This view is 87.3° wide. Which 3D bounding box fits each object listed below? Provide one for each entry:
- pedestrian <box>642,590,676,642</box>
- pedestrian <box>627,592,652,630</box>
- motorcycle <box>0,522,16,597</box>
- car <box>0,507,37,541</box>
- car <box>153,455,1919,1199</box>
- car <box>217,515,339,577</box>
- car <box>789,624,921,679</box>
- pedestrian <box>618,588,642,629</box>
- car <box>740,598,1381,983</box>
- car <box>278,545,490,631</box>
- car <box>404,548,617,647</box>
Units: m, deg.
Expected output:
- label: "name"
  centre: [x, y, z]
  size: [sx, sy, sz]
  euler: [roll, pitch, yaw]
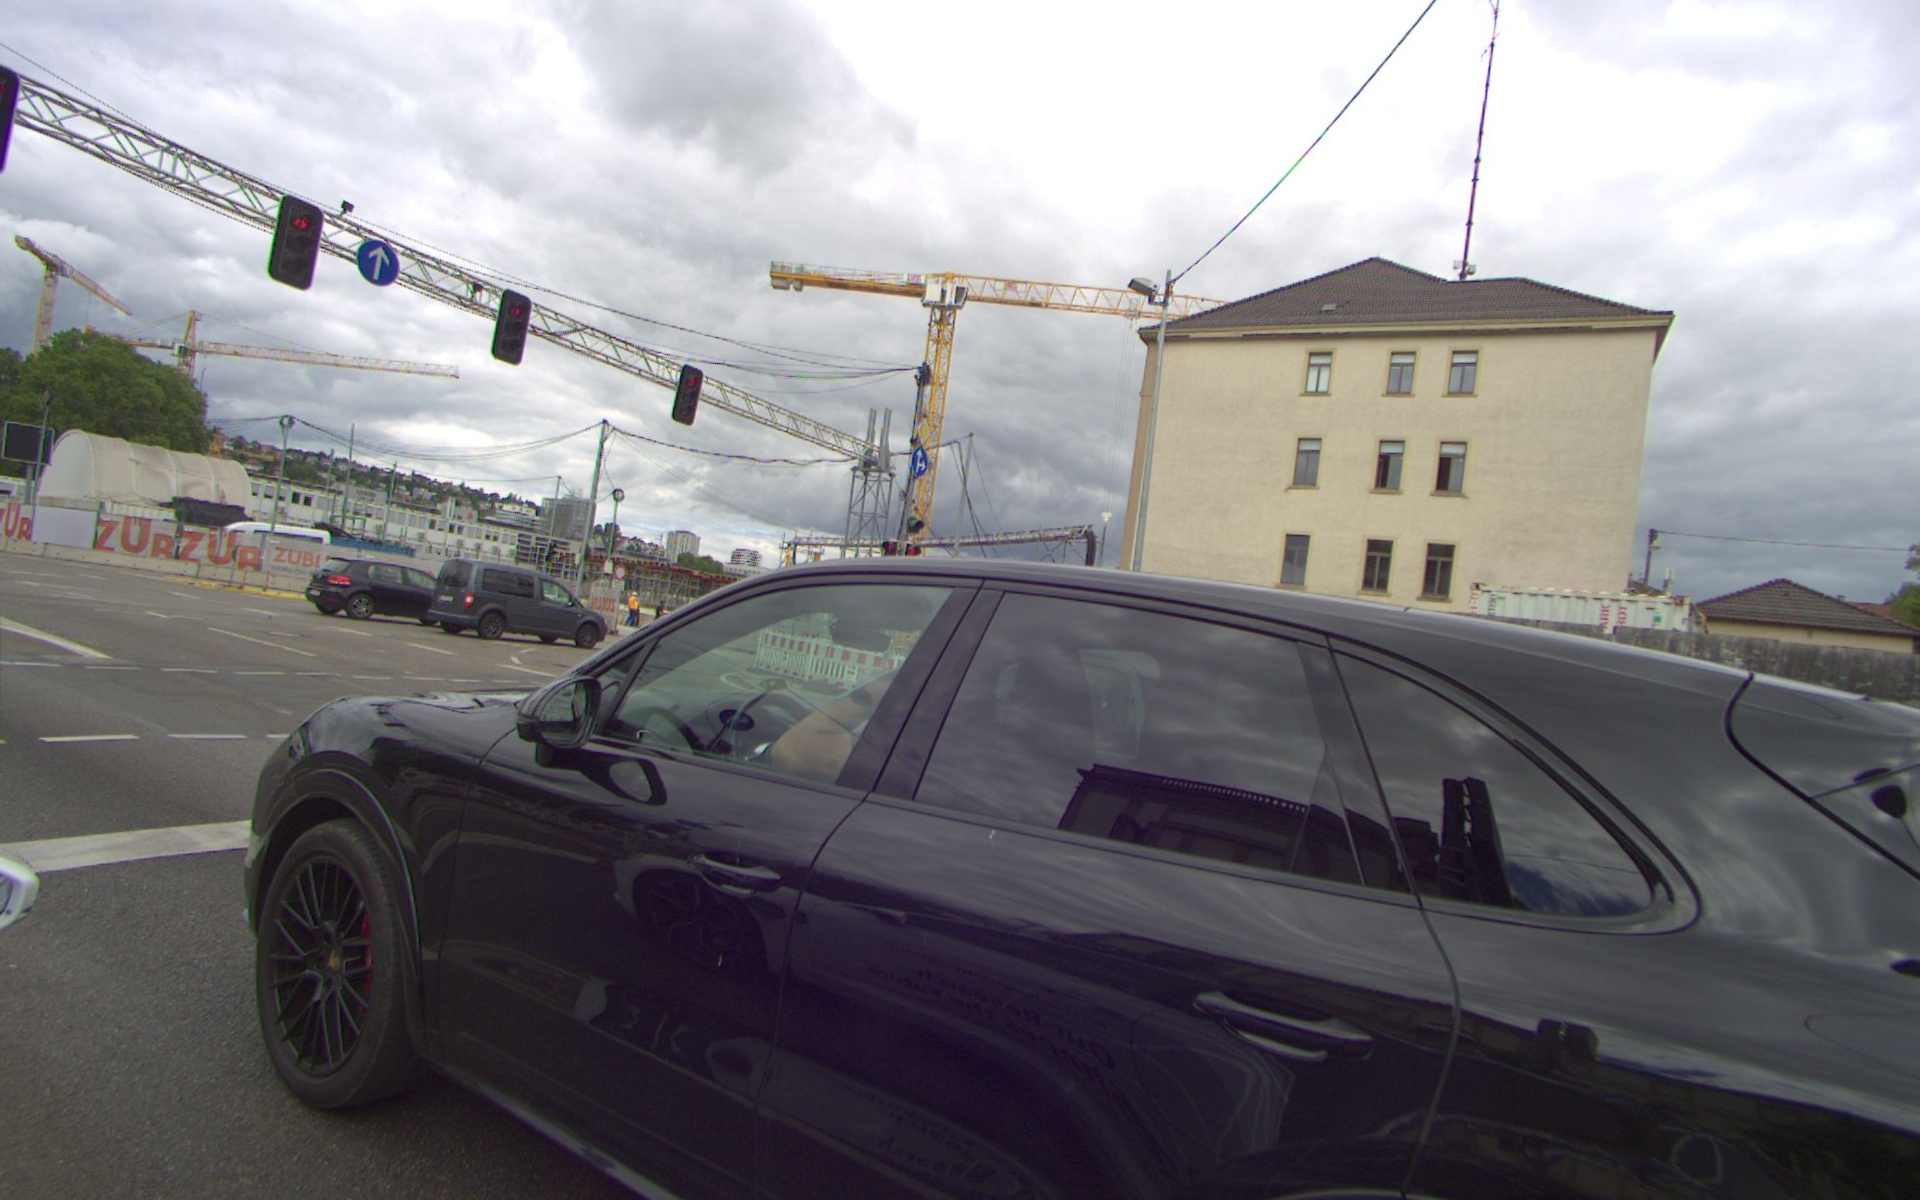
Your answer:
- label: "pedestrian"
  centre: [-12.676, 0.669, 42.406]
  size: [1.017, 2.037, 1.044]
  euler: [7, -1, -12]
- label: "pedestrian"
  centre: [-17.423, 0.608, 54.711]
  size: [0.850, 1.938, 0.680]
  euler: [7, -1, 26]
- label: "motorcycle"
  centre: [-16.166, -0.790, 15.309]
  size: [0.804, 1.168, 2.427]
  euler: [6, -2, 32]
- label: "car"
  centre: [-58.510, -4.799, 59.664]
  size: [2.123, 1.806, 5.193]
  euler: [7, -2, 9]
- label: "car"
  centre: [0.005, 0.688, 2.711]
  size: [4.505, 1.687, 1.996]
  euler: [6, -2, 34]
- label: "car"
  centre: [-29.525, -2.325, 43.634]
  size: [3.976, 2.037, 1.976]
  euler: [9, -2, -43]
- label: "car"
  centre: [-3.867, 1.947, 37.522]
  size: [4.474, 1.483, 1.978]
  euler: [9, -3, -40]
- label: "pedestrian"
  centre: [-17.642, 0.444, 53.818]
  size: [0.855, 2.037, 0.677]
  euler: [6, -1, 44]
- label: "car"
  centre: [0.585, 0.997, 6.548]
  size: [3.587, 1.527, 1.825]
  euler: [6, -2, 33]
- label: "car"
  centre: [-14.510, -0.268, 25.521]
  size: [1.970, 1.565, 4.109]
  euler: [6, -2, 37]
- label: "car"
  centre: [-10.937, 0.008, 24.795]
  size: [1.967, 1.826, 4.279]
  euler: [6, -2, 31]
